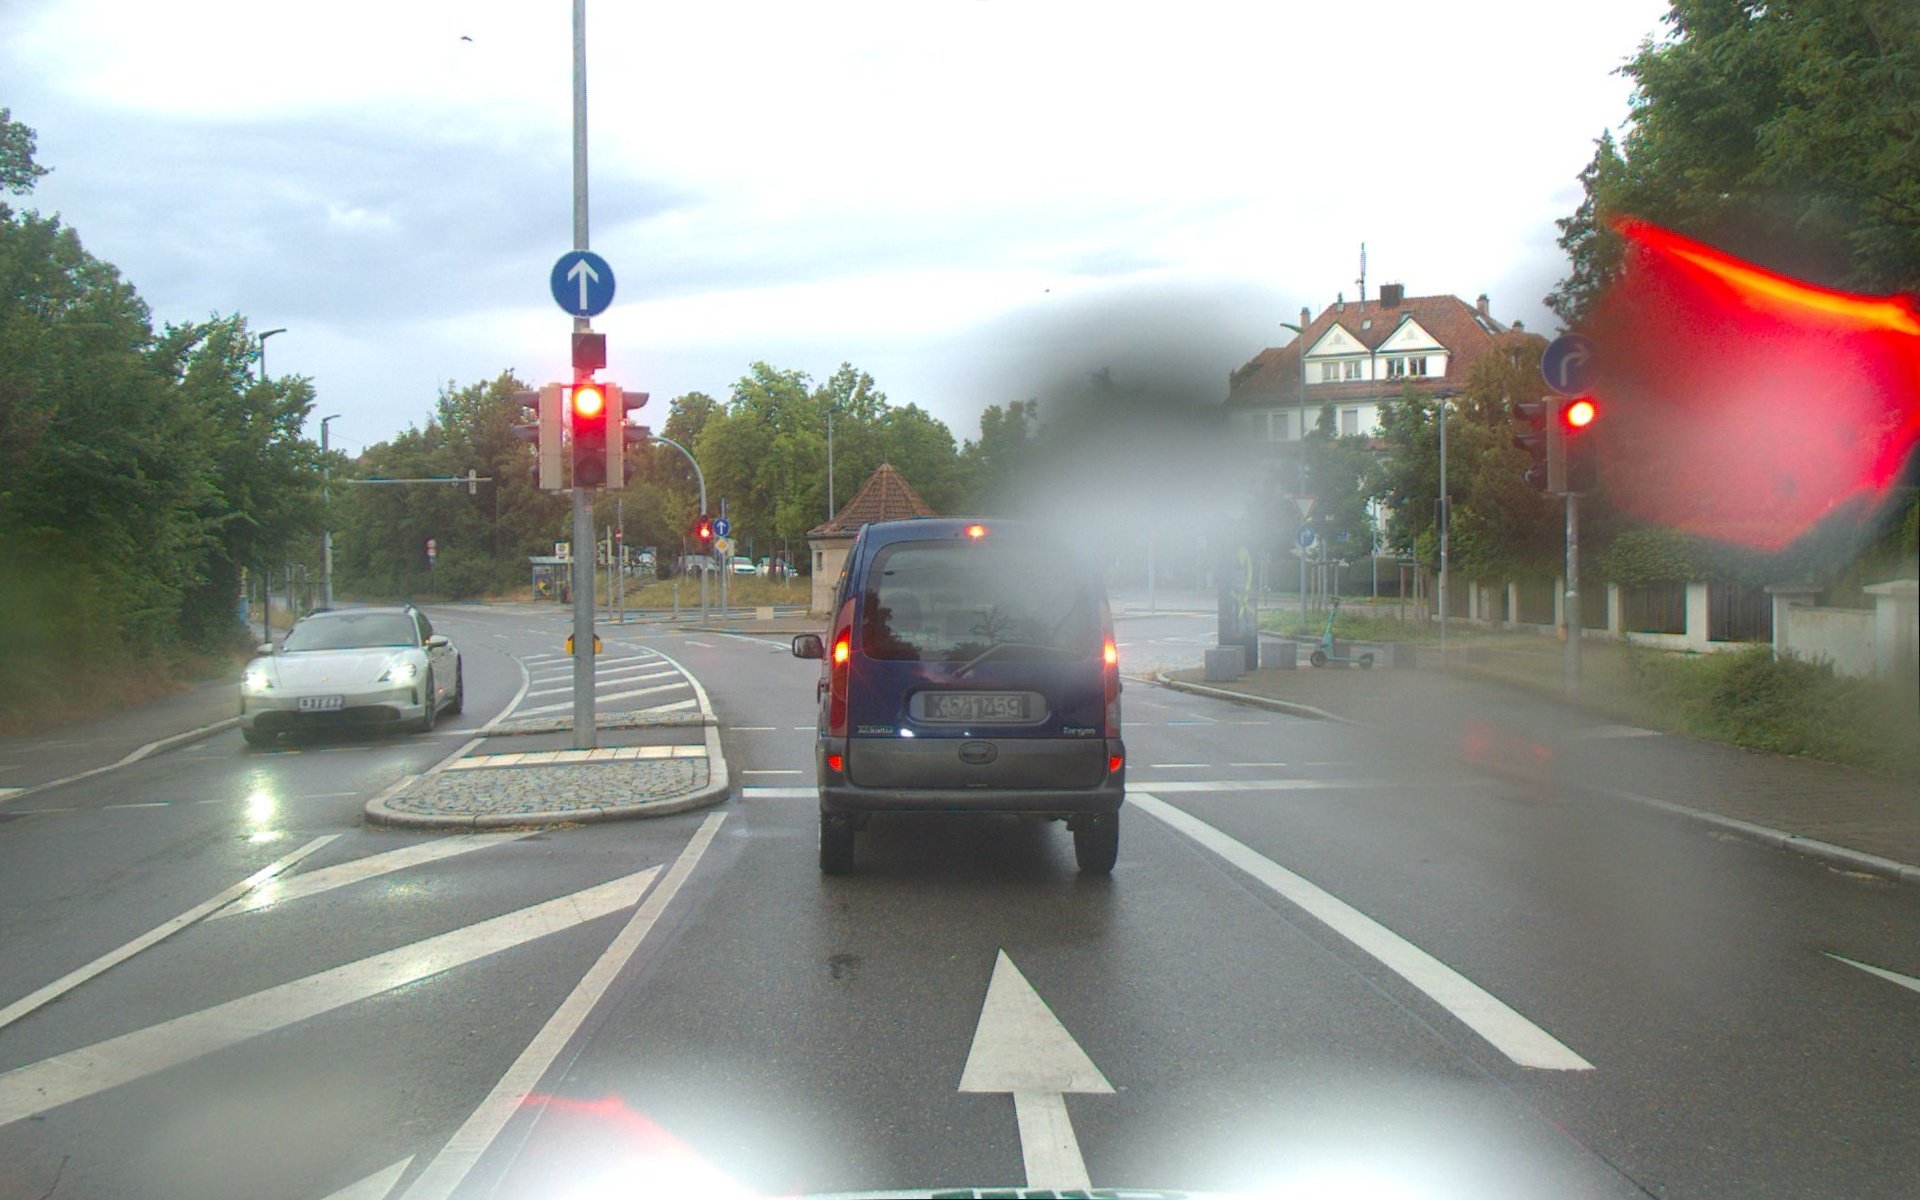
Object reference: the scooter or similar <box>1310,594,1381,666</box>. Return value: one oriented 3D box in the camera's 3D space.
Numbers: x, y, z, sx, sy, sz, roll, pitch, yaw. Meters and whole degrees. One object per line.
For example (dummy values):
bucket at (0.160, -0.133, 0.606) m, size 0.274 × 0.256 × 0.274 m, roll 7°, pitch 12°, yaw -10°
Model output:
scooter or similar at (6.749, 0.528, 28.977) m, size 1.125 × 1.240 × 0.405 m, roll 0°, pitch -1°, yaw -2°

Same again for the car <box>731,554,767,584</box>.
car at (-14.135, -2.064, 110.888) m, size 1.953 × 1.844 × 3.999 m, roll 0°, pitch 0°, yaw -1°

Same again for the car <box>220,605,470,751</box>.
car at (-6.993, 0.807, 19.268) m, size 1.958 × 1.334 × 4.348 m, roll -3°, pitch 1°, yaw -11°

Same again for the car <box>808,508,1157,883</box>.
car at (0.022, 0.444, 10.059) m, size 1.697 × 1.817 × 3.998 m, roll 0°, pitch 1°, yaw -3°
